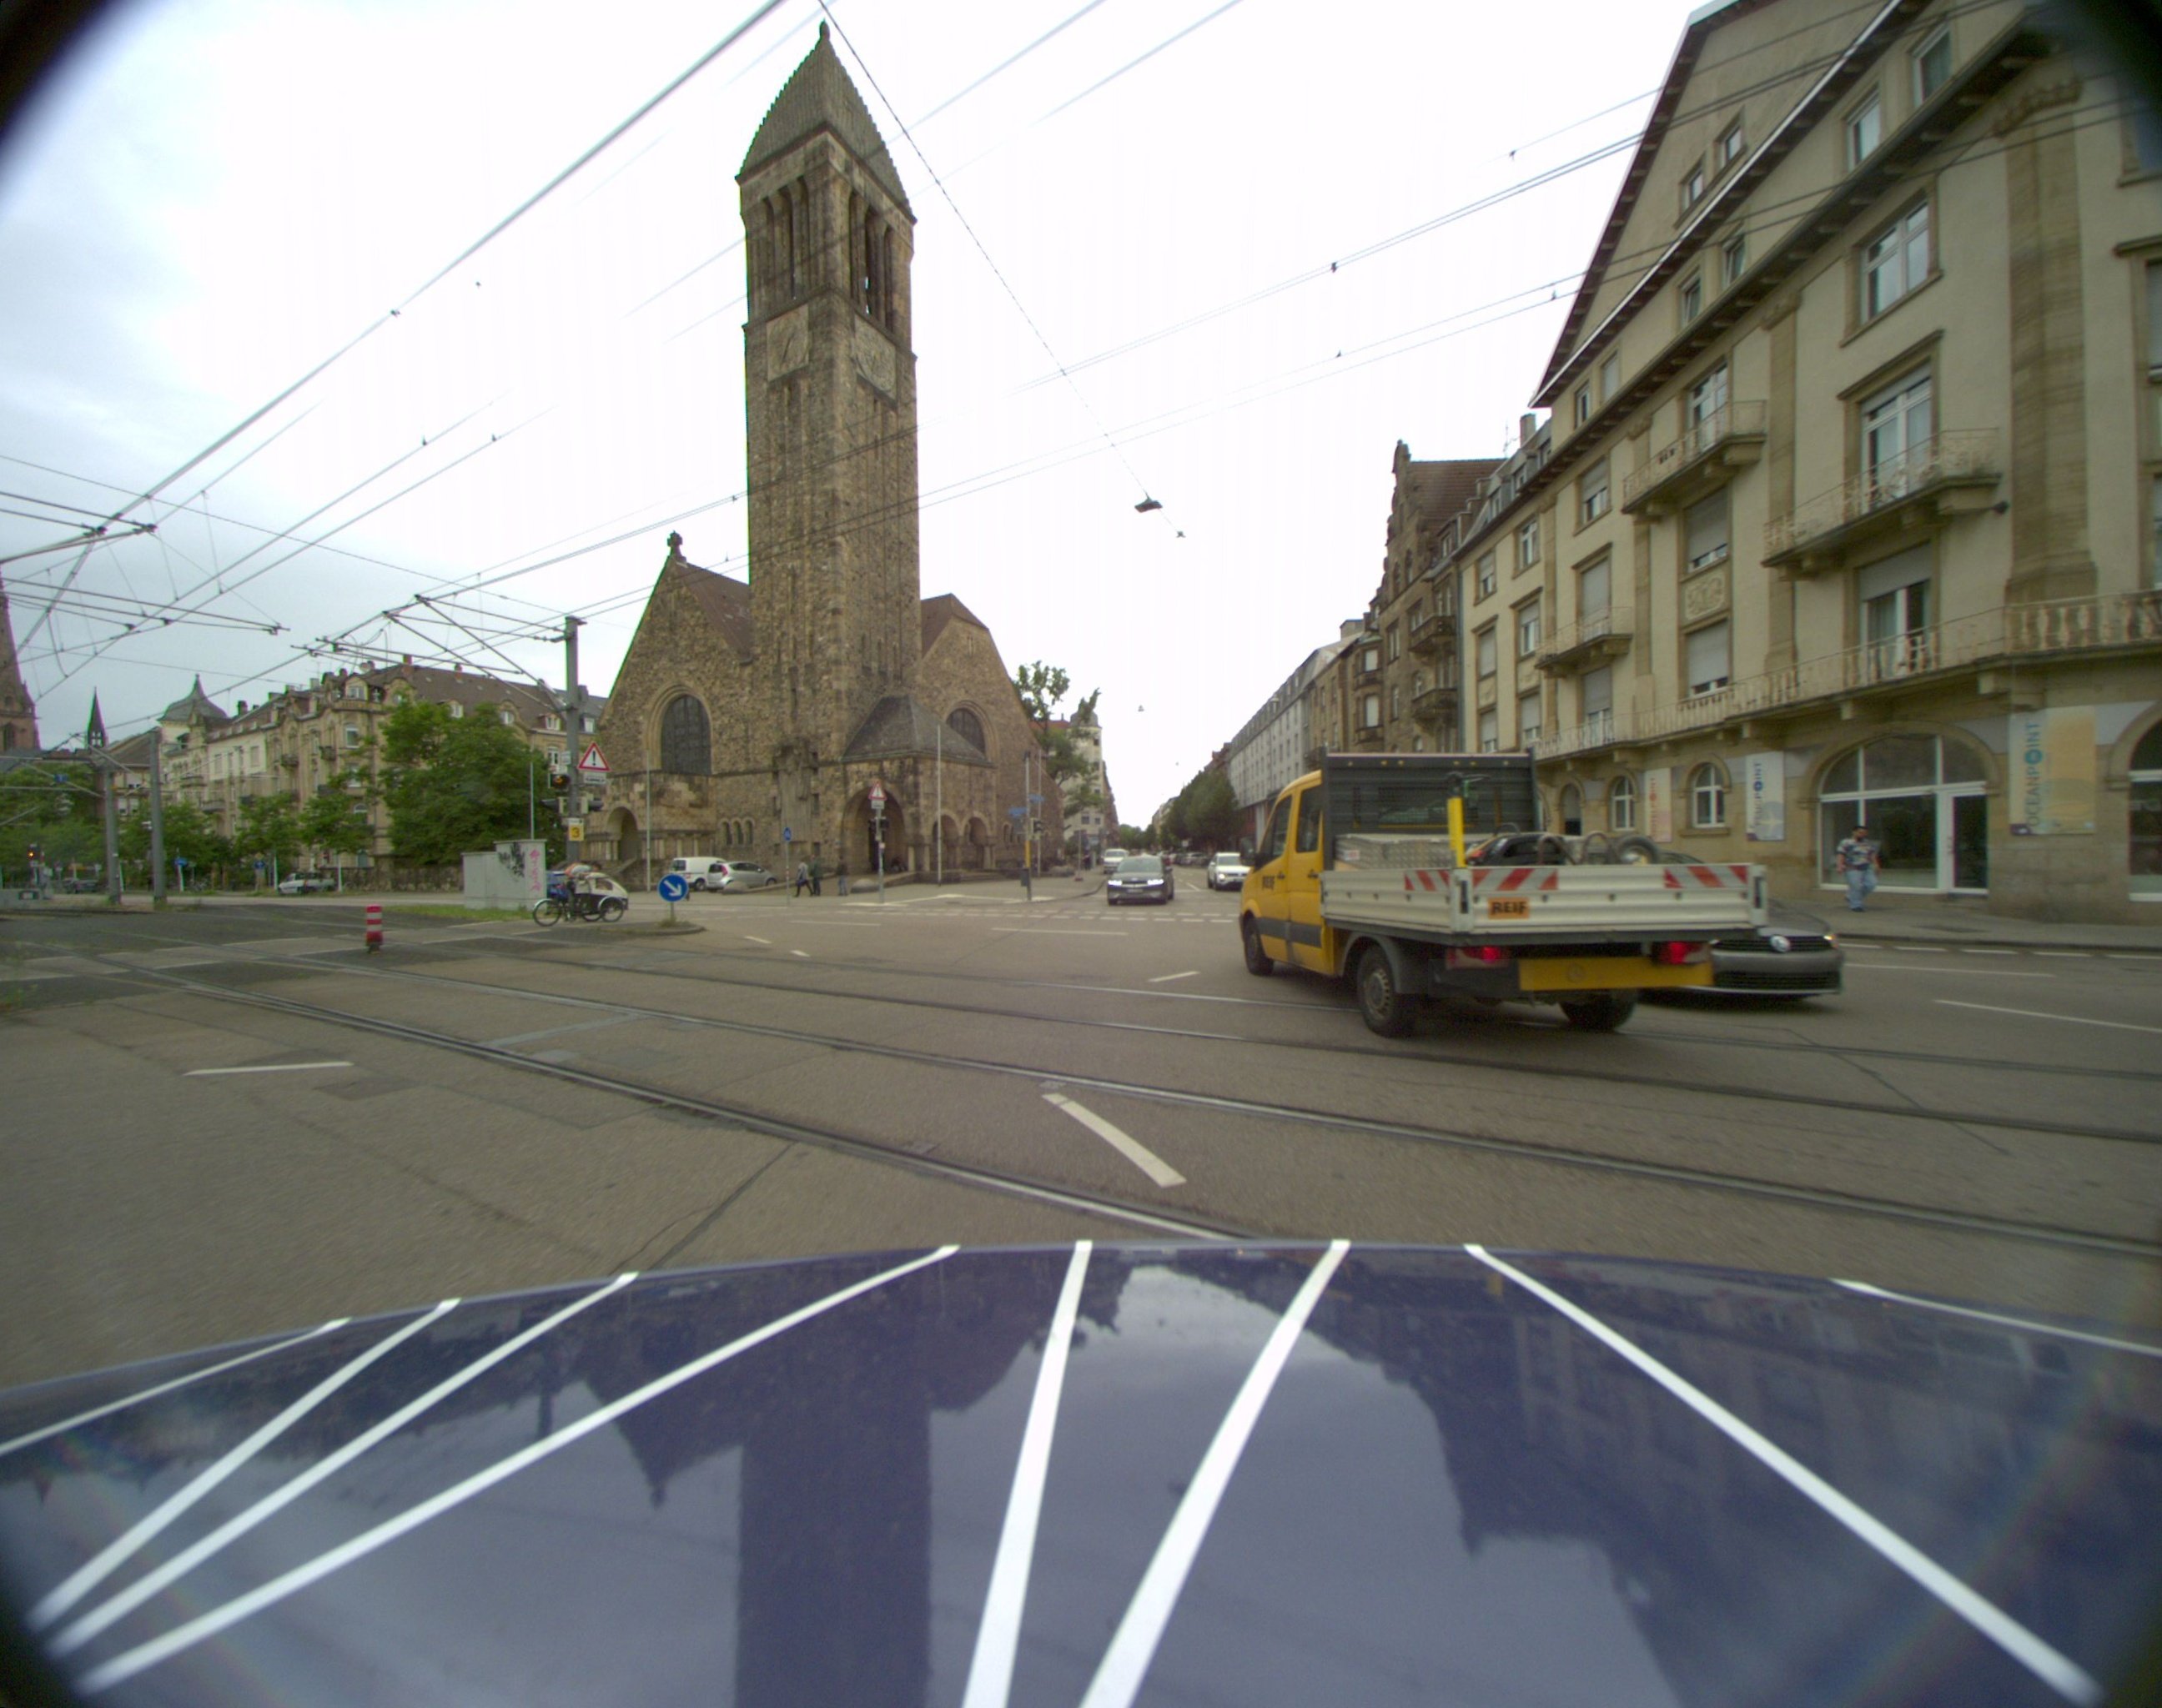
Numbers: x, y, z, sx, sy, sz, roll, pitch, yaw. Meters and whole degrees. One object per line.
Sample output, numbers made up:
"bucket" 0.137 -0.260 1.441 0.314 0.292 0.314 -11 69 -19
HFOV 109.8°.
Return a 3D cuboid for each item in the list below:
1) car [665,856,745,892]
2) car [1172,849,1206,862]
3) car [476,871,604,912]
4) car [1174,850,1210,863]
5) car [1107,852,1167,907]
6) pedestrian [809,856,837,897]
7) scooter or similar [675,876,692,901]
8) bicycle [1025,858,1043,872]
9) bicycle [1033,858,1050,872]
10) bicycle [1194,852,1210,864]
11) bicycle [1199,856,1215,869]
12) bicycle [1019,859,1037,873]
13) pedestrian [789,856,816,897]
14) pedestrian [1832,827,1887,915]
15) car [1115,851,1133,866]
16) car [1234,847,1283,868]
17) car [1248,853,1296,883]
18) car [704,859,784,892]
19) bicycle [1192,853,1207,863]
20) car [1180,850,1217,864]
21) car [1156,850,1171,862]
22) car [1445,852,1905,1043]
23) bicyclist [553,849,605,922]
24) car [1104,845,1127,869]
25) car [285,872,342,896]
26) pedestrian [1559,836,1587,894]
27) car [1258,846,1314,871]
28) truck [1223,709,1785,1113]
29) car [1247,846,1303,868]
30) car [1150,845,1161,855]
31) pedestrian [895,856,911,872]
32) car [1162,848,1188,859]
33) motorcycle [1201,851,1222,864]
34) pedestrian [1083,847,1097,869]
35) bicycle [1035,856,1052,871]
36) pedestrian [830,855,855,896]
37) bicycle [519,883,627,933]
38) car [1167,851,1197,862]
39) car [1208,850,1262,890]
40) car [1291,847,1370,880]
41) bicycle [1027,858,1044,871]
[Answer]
"car" -20.264 1.020 41.096 1.682 1.783 3.473 0 1 30
"car" 14.189 0.249 99.851 4.003 1.619 1.997 -1 1 -19
"car" -20.287 1.358 28.482 4.309 1.397 1.824 -1 1 22
"car" 14.204 0.280 97.074 4.003 1.619 1.997 -1 1 -19
"car" 1.872 0.785 25.496 1.819 1.675 4.001 -1 0 4
"pedestrian" -11.249 0.960 33.163 0.806 1.748 0.969 1 1 4
"scooter or similar" -17.236 1.501 32.946 0.771 1.047 0.240 -1 1 30
"bicycle" -3.644 0.869 59.086 1.380 1.054 0.311 -1 1 26
"bicycle" -3.145 0.876 60.238 1.340 1.054 0.311 -1 1 26
"bicycle" 13.244 0.424 83.358 1.629 1.282 0.416 -3 1 3
"bicycle" 13.661 0.951 82.711 1.629 1.345 0.416 -3 1 3
"bicycle" -4.055 0.907 58.463 1.380 1.054 0.311 -1 1 26
"pedestrian" -11.802 0.944 32.198 0.634 1.663 0.970 1 1 11
"pedestrian" 16.099 0.350 15.717 0.567 1.775 0.551 -1 1 5
"car" 4.640 0.430 81.698 1.819 1.556 4.001 -1 0 4
"car" 14.989 0.282 64.058 4.006 1.545 1.729 -4 1 -35
"car" 10.491 0.738 42.005 1.736 1.516 4.000 -1 0 1
"car" -17.382 1.093 39.320 1.614 1.521 3.473 0 1 30
"bicycle" 13.507 0.504 86.850 1.629 1.067 0.416 -3 1 3
"car" 14.144 0.338 91.187 4.003 1.619 1.769 -1 1 -19
"car" 10.343 0.248 94.954 1.653 1.439 3.511 -1 0 3
"car" 5.800 0.754 8.177 1.737 1.516 3.999 -1 0 -2
"bicyclist" -11.767 0.720 17.829 0.614 1.644 0.755 -1 1 26
"car" 2.829 0.217 61.839 1.809 1.908 5.165 -1 0 3
"car" -50.900 1.970 50.376 3.458 1.521 1.690 -1 1 27
"pedestrian" 16.829 0.383 26.009 0.620 1.947 0.551 -1 1 5
"car" 15.066 0.313 55.808 4.006 1.545 1.699 -4 1 -34
"truck" 3.082 0.328 7.294 2.081 2.394 5.460 0 0 -4
"car" 14.889 0.264 58.323 3.753 1.437 1.820 -4 0 -26
"car" 13.579 -0.720 138.871 1.697 1.793 4.129 0 0 2
"pedestrian" -10.525 0.587 44.992 0.672 0.946 0.616 -1 1 26
"car" 16.264 -0.066 132.035 4.003 1.898 1.997 -1 1 -19
"motorcycle" 13.966 0.370 81.223 2.123 1.345 0.599 -3 1 5
"pedestrian" 0.783 0.341 66.685 0.814 1.799 1.021 -1 3 25
"bicycle" -3.020 0.760 61.013 1.340 1.140 0.311 -1 1 26
"pedestrian" -10.222 0.907 32.559 0.676 1.676 0.969 1 1 4
"bicycle" -11.799 1.221 17.744 0.551 0.990 2.064 -1 1 27
"car" 14.961 0.330 112.414 4.003 1.488 1.735 -1 1 -19
"car" 6.720 0.668 33.501 1.910 1.597 4.252 -1 1 6
"car" 14.266 0.516 43.469 4.003 1.714 1.838 -3 1 -20
"bicycle" -3.589 0.820 59.743 1.380 1.054 0.311 -1 1 26
